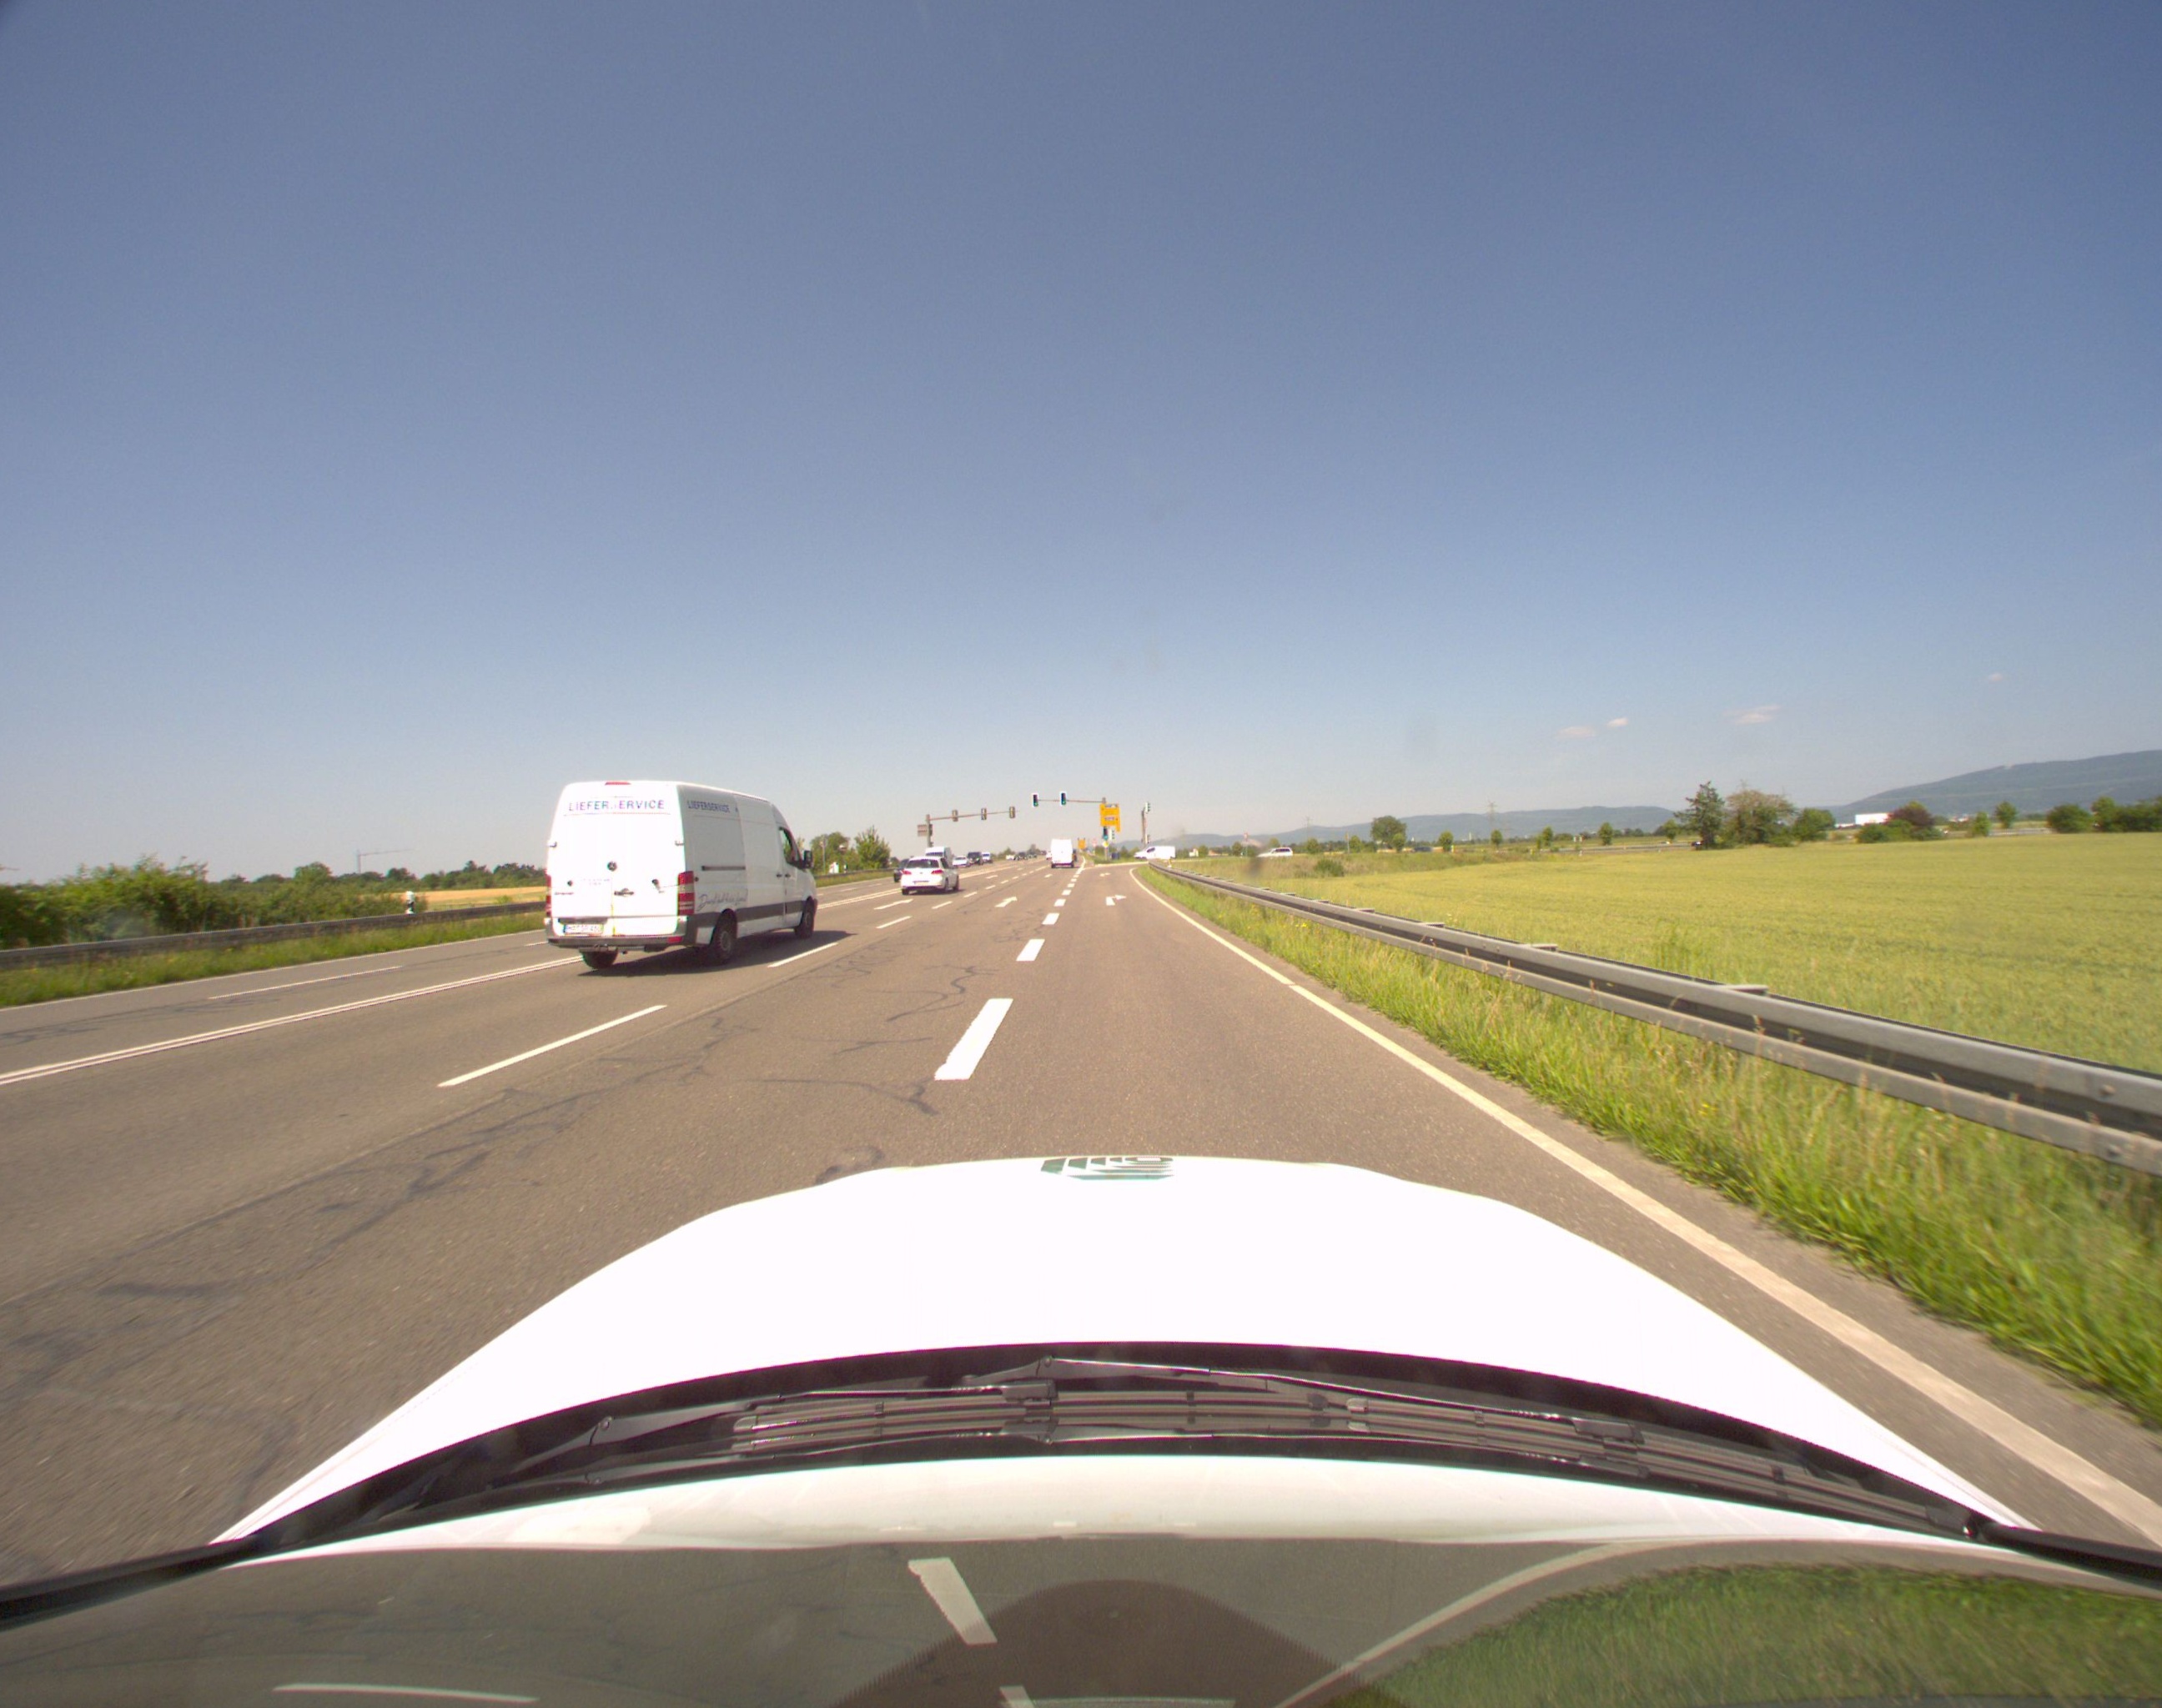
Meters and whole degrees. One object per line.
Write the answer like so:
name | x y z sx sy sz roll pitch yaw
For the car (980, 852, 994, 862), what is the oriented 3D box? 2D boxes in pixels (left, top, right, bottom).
car | -14.665 0.492 126.966 1.596 1.582 3.333 -1 -1 2

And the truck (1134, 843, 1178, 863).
truck | 8.886 -0.079 96.482 4.851 2.320 1.990 0 -1 -15

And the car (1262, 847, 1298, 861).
car | 24.678 -0.041 101.088 4.004 1.684 1.984 0 -1 -23

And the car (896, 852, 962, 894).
car | -6.033 0.710 32.742 1.793 1.508 4.196 -2 0 0

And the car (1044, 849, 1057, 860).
car | -5.000 0.059 134.494 1.987 1.703 4.275 -1 -1 1

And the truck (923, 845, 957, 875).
truck | -14.371 0.634 83.155 2.288 2.957 5.284 -1 -1 2

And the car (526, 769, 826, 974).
car | -6.154 0.209 13.447 2.033 2.620 5.740 -1 0 0

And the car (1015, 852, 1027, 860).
car | -11.240 0.338 152.038 1.628 1.486 4.004 -1 -1 4

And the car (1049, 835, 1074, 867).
car | -1.720 -0.267 72.142 1.987 2.695 4.969 -1 0 0

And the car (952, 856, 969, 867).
car | -14.717 0.930 99.831 1.457 1.274 3.333 -1 -1 2

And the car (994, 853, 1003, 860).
car | -17.373 0.528 172.451 1.457 1.274 3.333 -1 -1 2

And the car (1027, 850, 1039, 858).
car | -10.798 0.046 183.628 1.984 1.618 4.004 -1 -1 4

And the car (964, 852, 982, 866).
car | -14.833 0.716 111.578 1.866 1.887 3.333 -1 -1 2

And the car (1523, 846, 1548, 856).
car | 68.649 -0.393 123.003 3.495 1.486 1.634 0 -1 -30

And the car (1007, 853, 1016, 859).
car | -14.357 0.444 169.255 1.457 1.274 3.333 -1 -1 2
